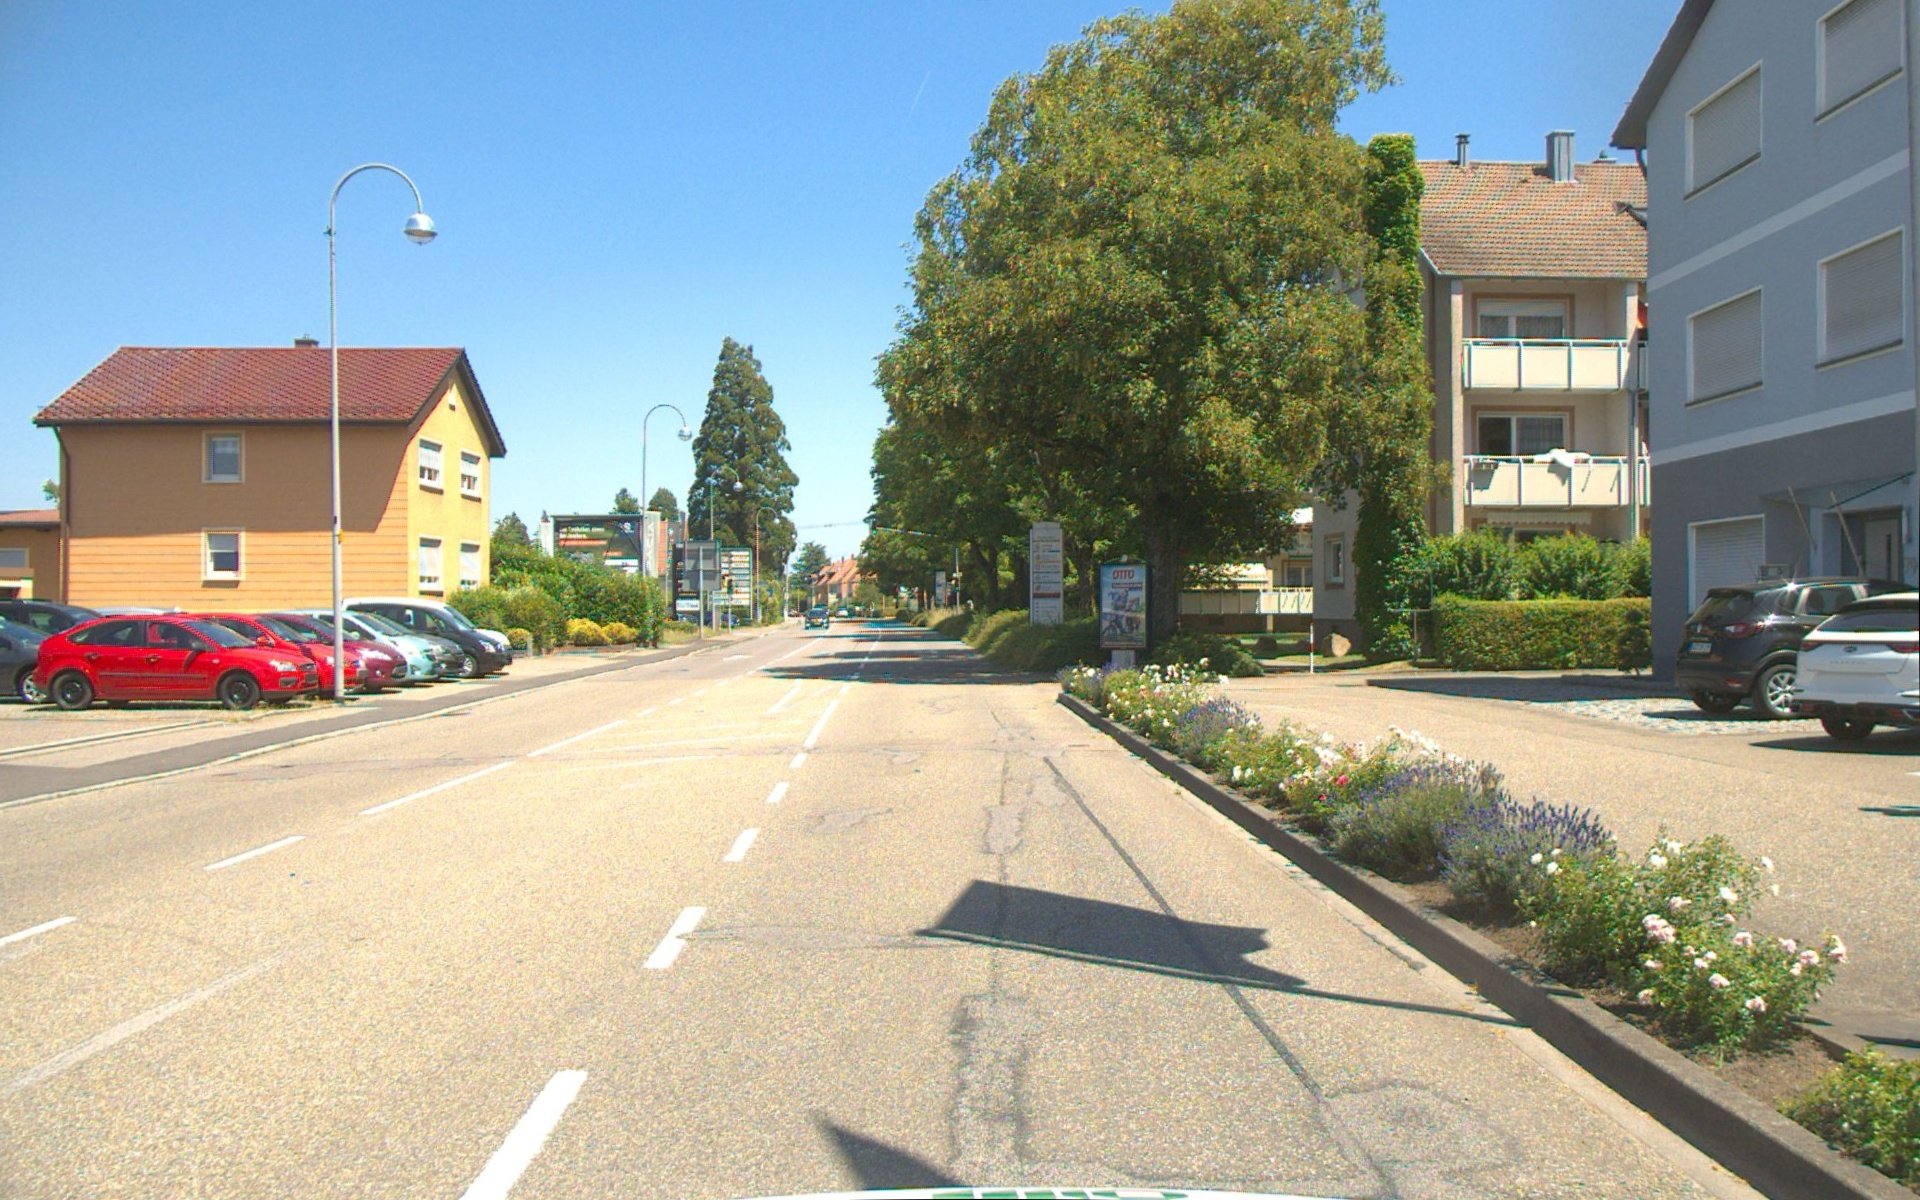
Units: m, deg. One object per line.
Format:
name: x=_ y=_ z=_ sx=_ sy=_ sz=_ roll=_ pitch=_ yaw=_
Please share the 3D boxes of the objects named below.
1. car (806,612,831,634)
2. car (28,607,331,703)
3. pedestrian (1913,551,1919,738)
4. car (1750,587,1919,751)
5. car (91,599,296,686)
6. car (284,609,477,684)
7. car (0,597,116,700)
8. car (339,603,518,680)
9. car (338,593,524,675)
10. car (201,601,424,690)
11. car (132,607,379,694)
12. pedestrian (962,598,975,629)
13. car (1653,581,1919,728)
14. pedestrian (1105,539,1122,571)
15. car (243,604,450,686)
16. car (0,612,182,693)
car: x=-10.393 y=1.687 z=121.885 sx=1.675 sy=1.521 sz=4.275 roll=0 pitch=0 yaw=-2
car: x=-12.611 y=0.880 z=26.930 sx=4.043 sy=1.469 sz=1.826 roll=0 pitch=-1 yaw=-3
pedestrian: x=6.745 y=0.496 z=10.460 sx=0.822 sy=1.670 sz=1.010 roll=-1 pitch=-1 yaw=3
car: x=9.830 y=0.601 z=15.689 sx=4.287 sy=1.395 sz=1.940 roll=0 pitch=-1 yaw=-25
car: x=-16.638 y=0.914 z=36.060 sx=3.591 sy=1.807 sz=1.921 roll=0 pitch=-1 yaw=-4
car: x=-12.631 y=1.002 z=36.225 sx=3.591 sy=1.558 sz=1.921 roll=0 pitch=-1 yaw=-4
car: x=-16.946 y=0.837 z=28.738 sx=3.592 sy=1.739 sz=1.891 roll=0 pitch=-1 yaw=-5
car: x=-12.310 y=0.950 z=38.499 sx=3.591 sy=1.702 sz=1.921 roll=0 pitch=-1 yaw=-4
car: x=-12.906 y=0.822 z=40.585 sx=4.015 sy=1.931 sz=1.997 roll=0 pitch=-1 yaw=-7
car: x=-12.435 y=0.857 z=31.934 sx=3.591 sy=1.633 sz=1.880 roll=0 pitch=-1 yaw=-4
car: x=-12.451 y=0.880 z=29.414 sx=3.591 sy=1.483 sz=1.891 roll=0 pitch=-1 yaw=-4
pedestrian: x=0.490 y=0.798 z=96.245 sx=0.601 sy=1.782 sz=0.561 roll=-1 pitch=-1 yaw=28
car: x=10.529 y=0.593 z=19.514 sx=3.907 sy=1.577 sz=1.797 roll=-2 pitch=-1 yaw=-2
pedestrian: x=6.662 y=-1.941 z=71.849 sx=0.648 sy=1.358 sz=0.888 roll=0 pitch=-1 yaw=-2
car: x=-12.585 y=0.919 z=34.118 sx=3.591 sy=1.609 sz=1.921 roll=0 pitch=-1 yaw=-4
car: x=-17.032 y=0.983 z=31.431 sx=3.591 sy=1.483 sz=1.891 roll=0 pitch=-1 yaw=-4
